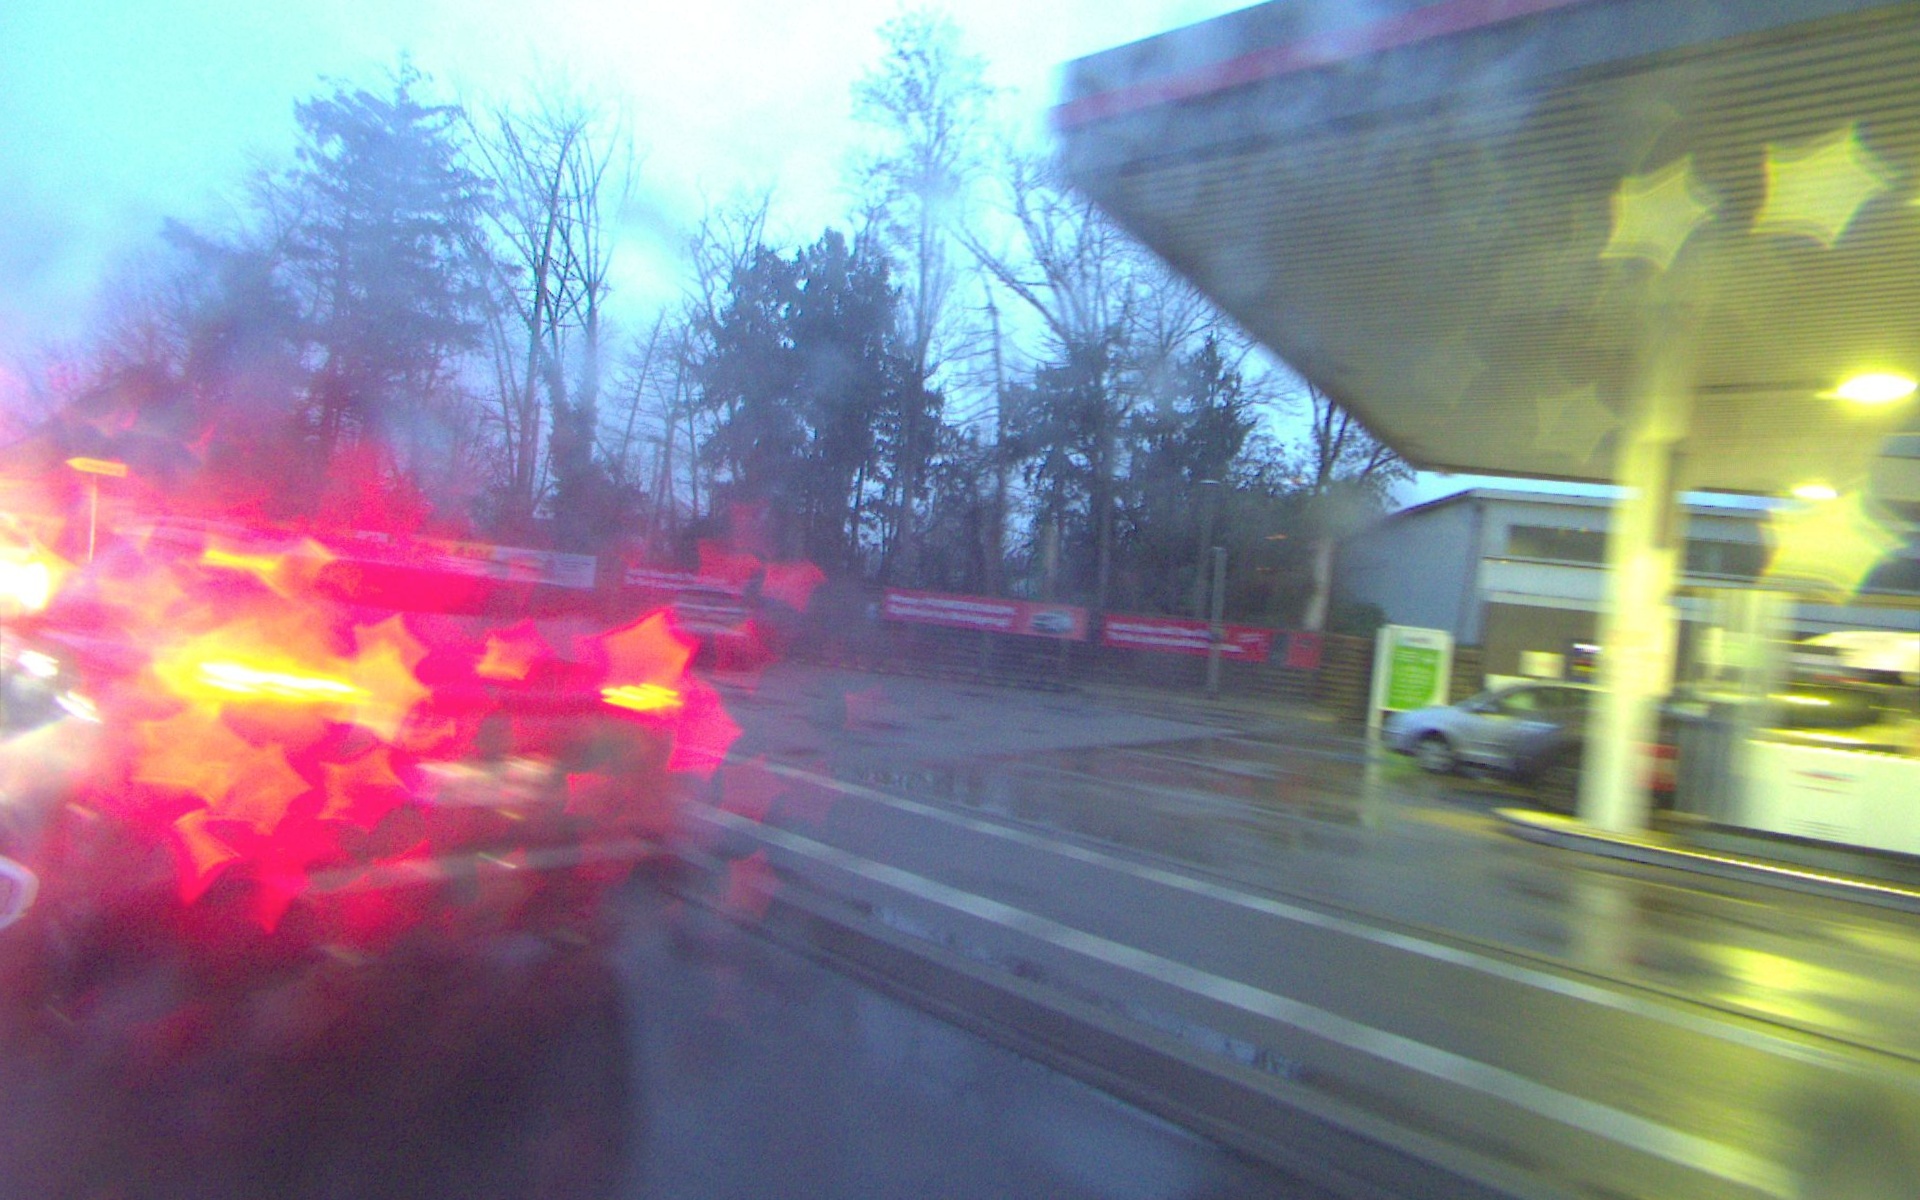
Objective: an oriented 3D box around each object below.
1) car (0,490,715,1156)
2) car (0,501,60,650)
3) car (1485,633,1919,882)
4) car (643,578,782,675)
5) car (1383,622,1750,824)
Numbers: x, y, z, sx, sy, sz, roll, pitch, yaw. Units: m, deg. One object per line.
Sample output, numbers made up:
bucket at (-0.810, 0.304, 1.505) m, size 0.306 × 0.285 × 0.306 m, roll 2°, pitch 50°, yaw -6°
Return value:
car at (-2.941, 0.448, 4.199) m, size 3.949 × 1.547 × 1.564 m, roll 5°, pitch -1°, yaw 40°
car at (-12.323, -0.464, 11.960) m, size 4.400 × 1.595 × 1.706 m, roll 6°, pitch 0°, yaw 40°
car at (8.107, 1.515, 10.500) m, size 4.235 × 1.883 × 1.991 m, roll 5°, pitch 1°, yaw 39°
car at (-5.064, 0.527, 21.216) m, size 1.983 × 1.628 × 4.480 m, roll 6°, pitch -1°, yaw -4°
car at (8.232, 1.553, 13.814) m, size 3.942 × 2.038 × 1.992 m, roll 5°, pitch -1°, yaw 39°
